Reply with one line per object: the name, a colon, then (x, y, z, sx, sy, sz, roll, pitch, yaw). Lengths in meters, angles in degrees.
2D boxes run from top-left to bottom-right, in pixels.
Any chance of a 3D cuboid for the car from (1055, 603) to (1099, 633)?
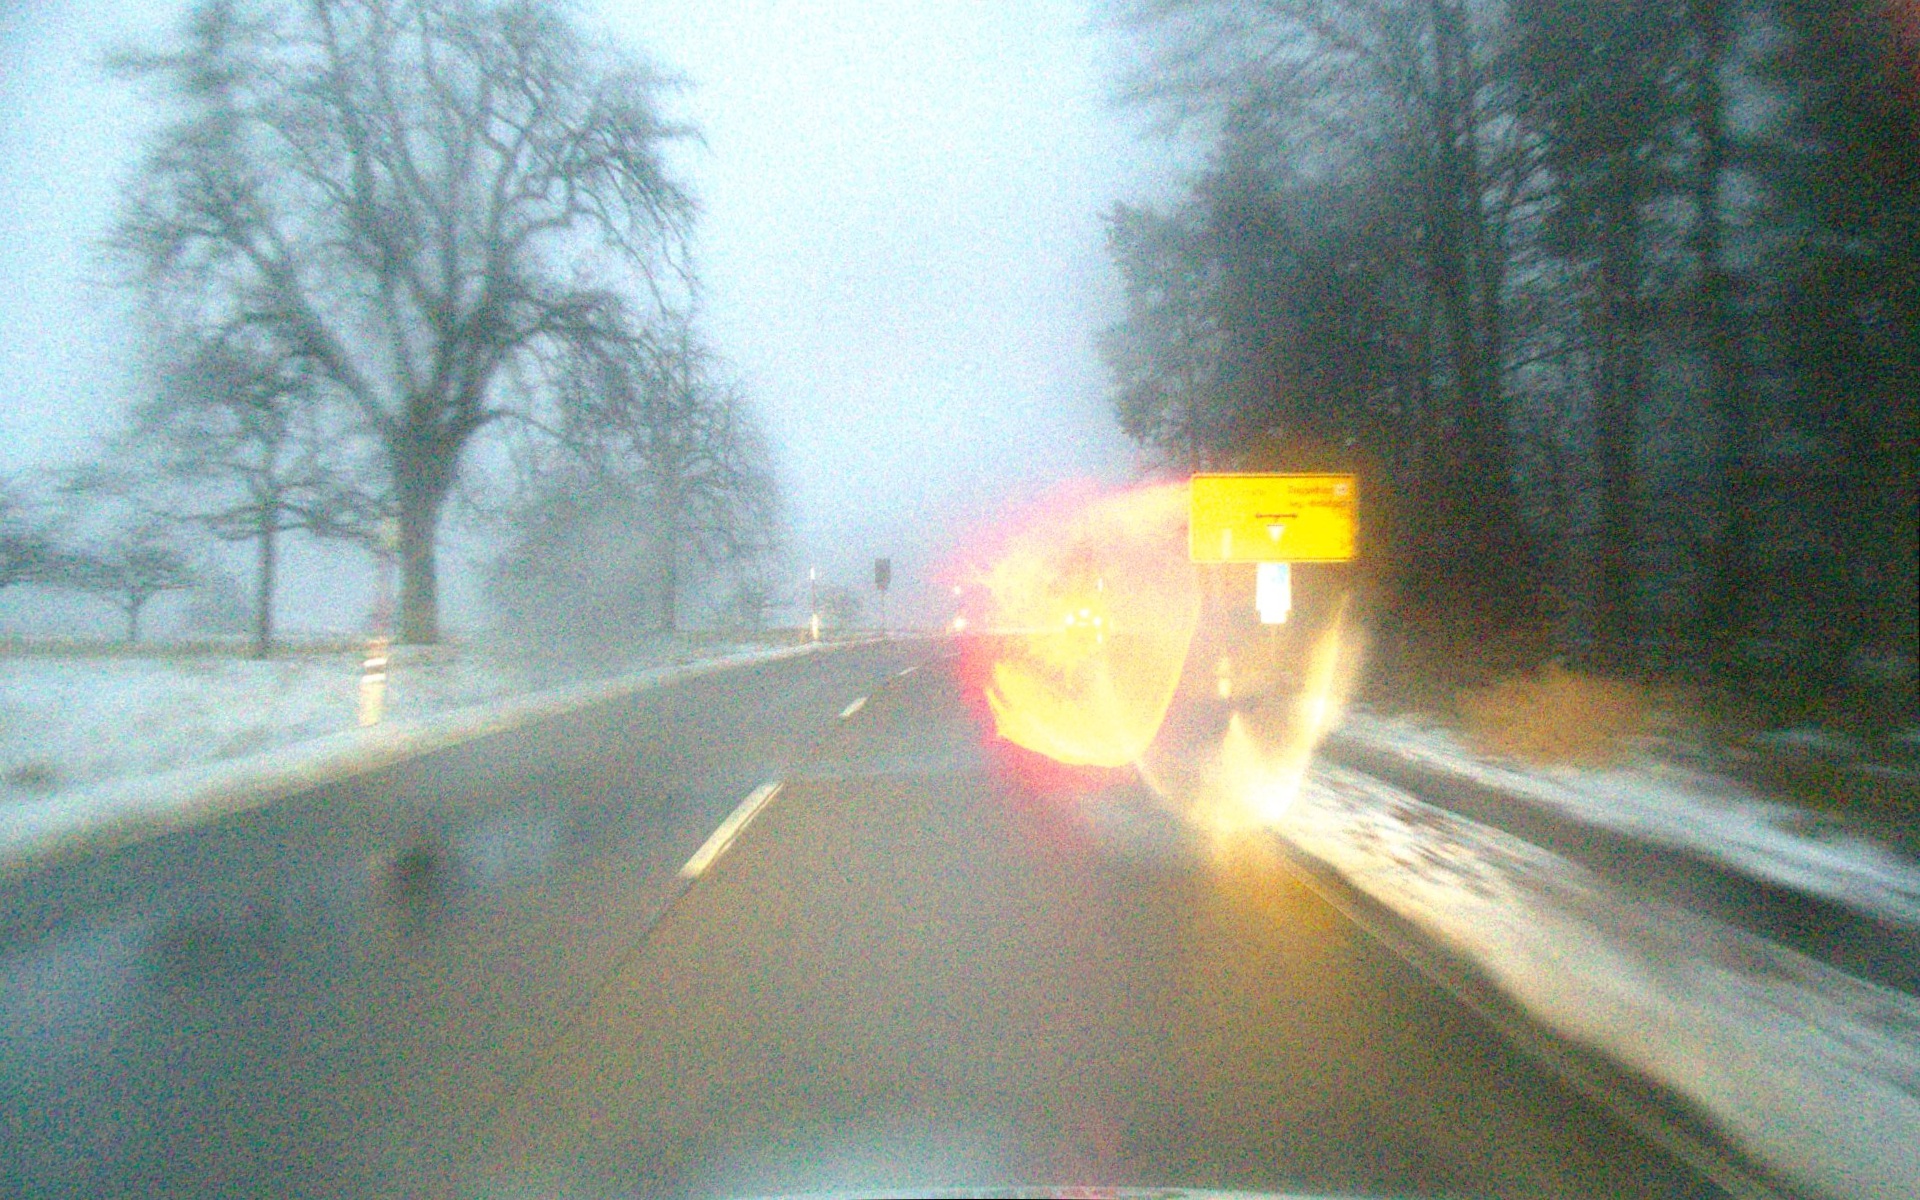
car: (5.518, 0.817, 77.778, 1.881, 1.299, 4.003, 0, 1, 7)
